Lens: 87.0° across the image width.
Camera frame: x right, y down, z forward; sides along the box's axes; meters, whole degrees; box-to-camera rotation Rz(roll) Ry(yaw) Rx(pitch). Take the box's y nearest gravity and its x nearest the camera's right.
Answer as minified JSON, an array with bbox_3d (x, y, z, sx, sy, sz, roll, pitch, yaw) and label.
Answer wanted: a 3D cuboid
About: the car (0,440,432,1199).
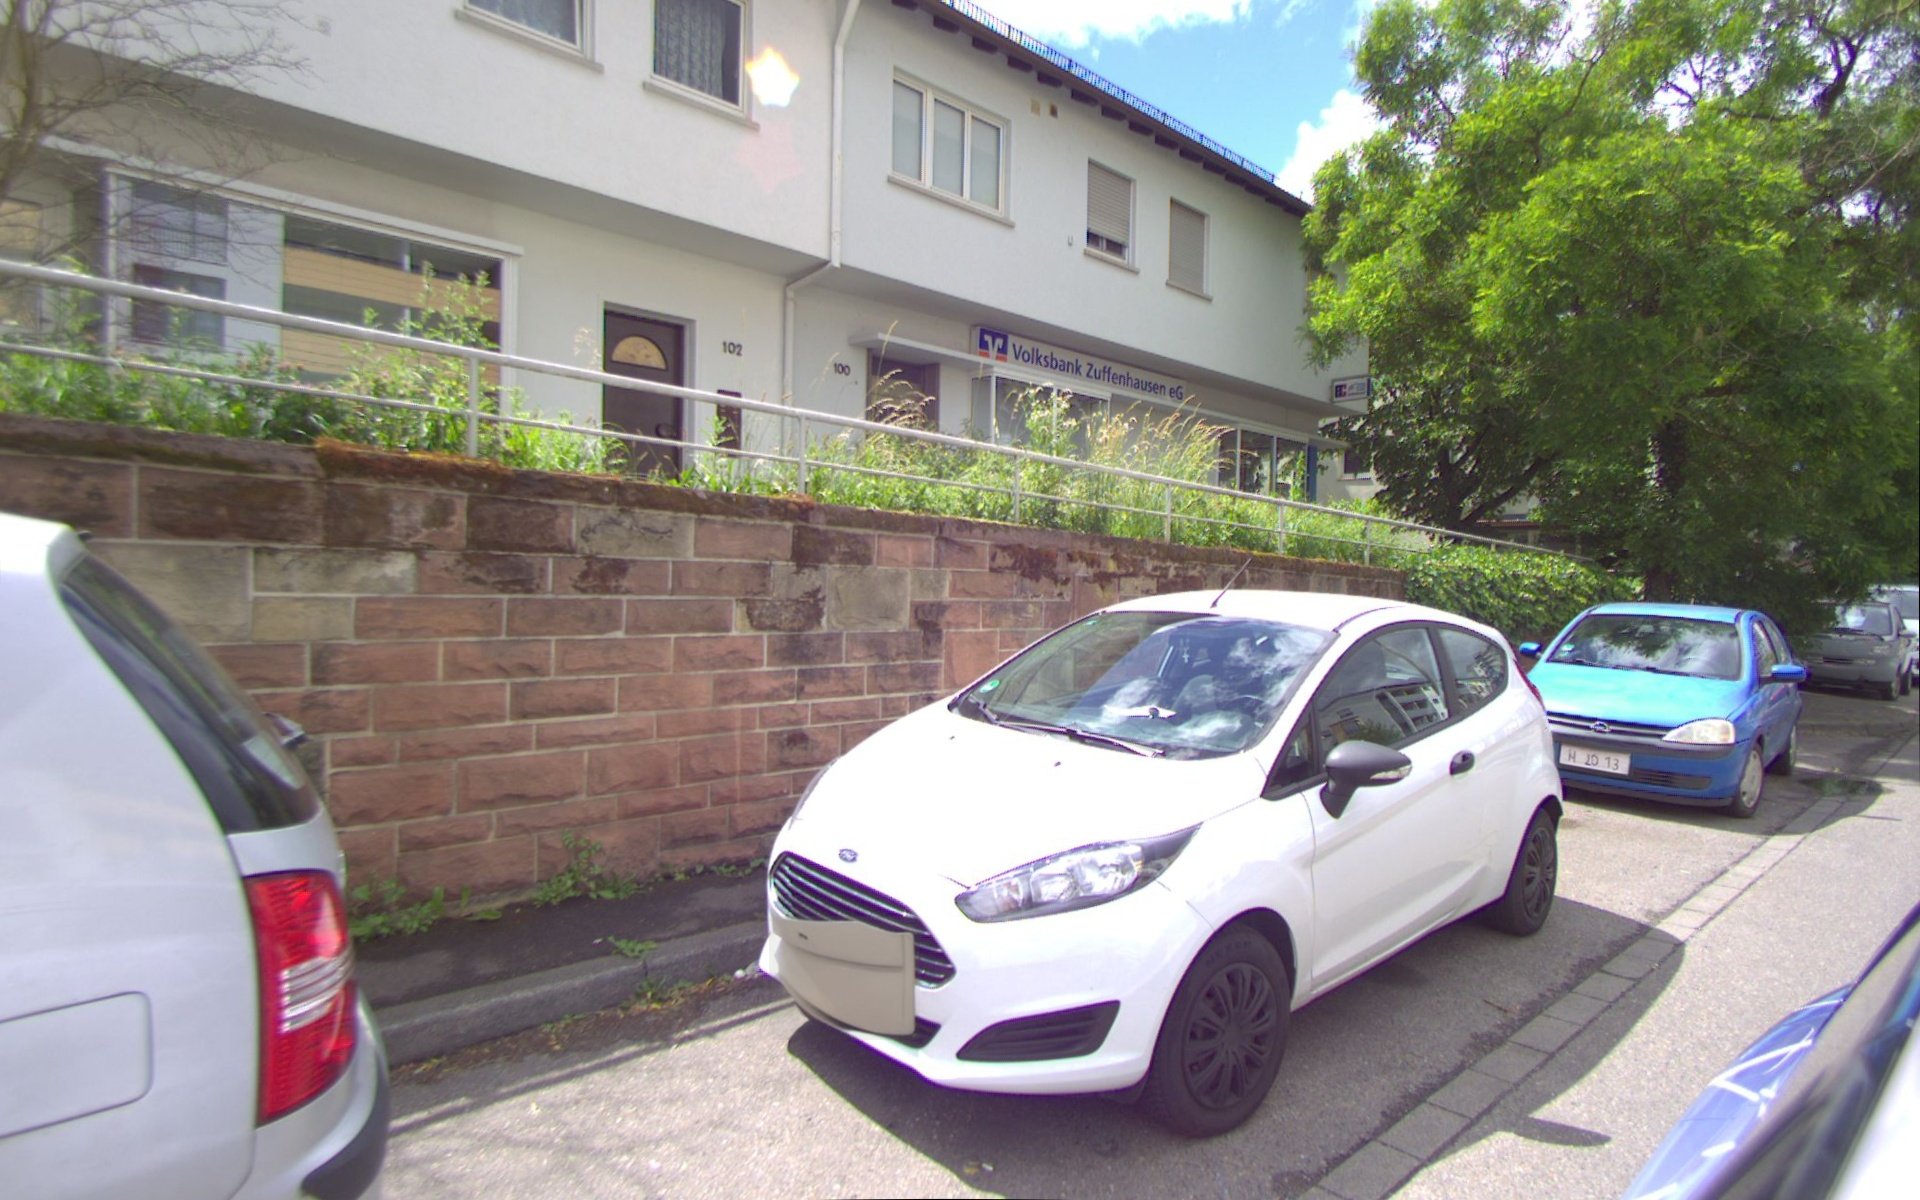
[{"bbox_3d":[-2.584,0.570,0.931,3.417,1.572,1.583,1,1,-44],"label":"car"}]

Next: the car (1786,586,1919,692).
[{"bbox_3d":[15.003,0.593,16.860,2.799,1.553,1.515,0,2,-43],"label":"car"}]

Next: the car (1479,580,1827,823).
[{"bbox_3d":[5.740,0.637,8.214,3.615,1.474,1.610,0,2,-44],"label":"car"}]

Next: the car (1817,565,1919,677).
[{"bbox_3d":[18.954,0.380,20.423,5.649,1.983,1.916,0,2,-44],"label":"car"}]

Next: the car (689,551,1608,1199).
[{"bbox_3d":[1.041,0.647,4.024,3.756,1.508,1.647,1,1,-42],"label":"car"}]

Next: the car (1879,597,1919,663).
[{"bbox_3d":[23.538,0.712,24.329,4.267,1.460,1.758,0,2,-43],"label":"car"}]
